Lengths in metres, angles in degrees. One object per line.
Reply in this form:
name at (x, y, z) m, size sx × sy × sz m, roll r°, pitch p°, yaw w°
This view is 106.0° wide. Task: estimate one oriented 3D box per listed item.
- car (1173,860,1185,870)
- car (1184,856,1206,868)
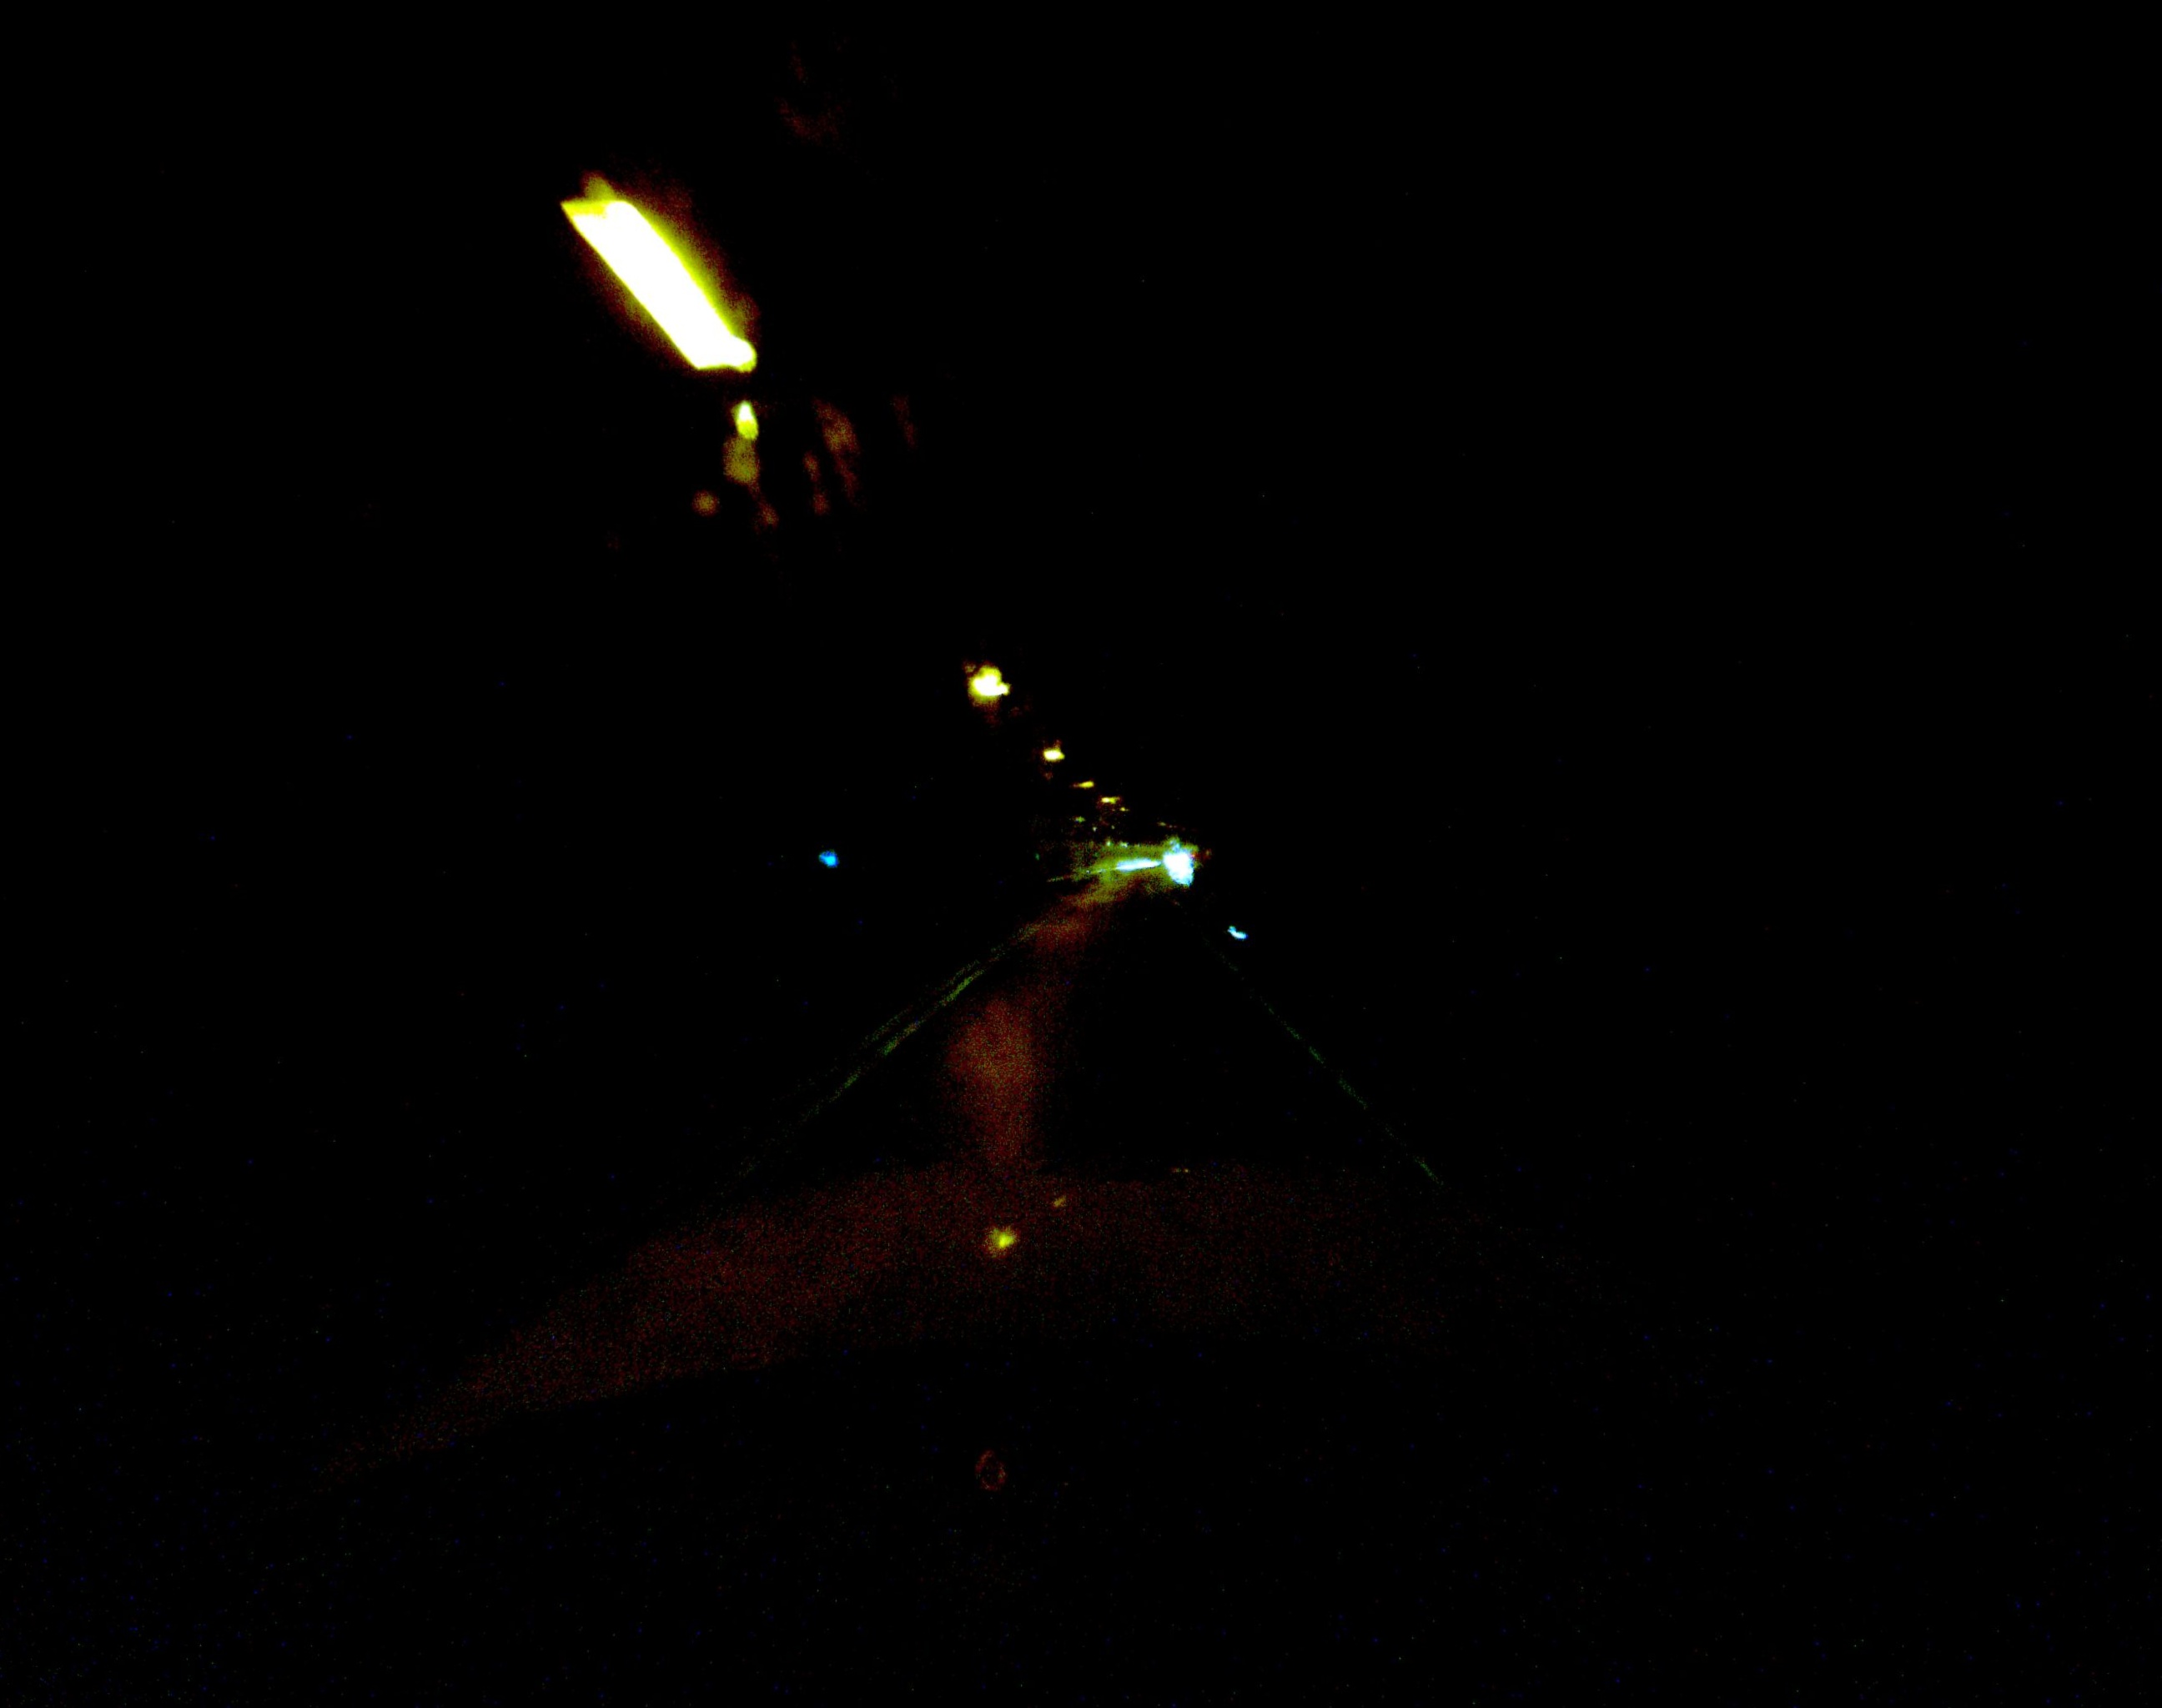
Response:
car at (14.160, 1.574, 117.738) m, size 1.699 × 1.510 × 4.088 m, roll 1°, pitch 0°, yaw 8°
car at (16.155, 1.121, 115.545) m, size 1.975 × 1.650 × 4.023 m, roll 0°, pitch 0°, yaw 25°
